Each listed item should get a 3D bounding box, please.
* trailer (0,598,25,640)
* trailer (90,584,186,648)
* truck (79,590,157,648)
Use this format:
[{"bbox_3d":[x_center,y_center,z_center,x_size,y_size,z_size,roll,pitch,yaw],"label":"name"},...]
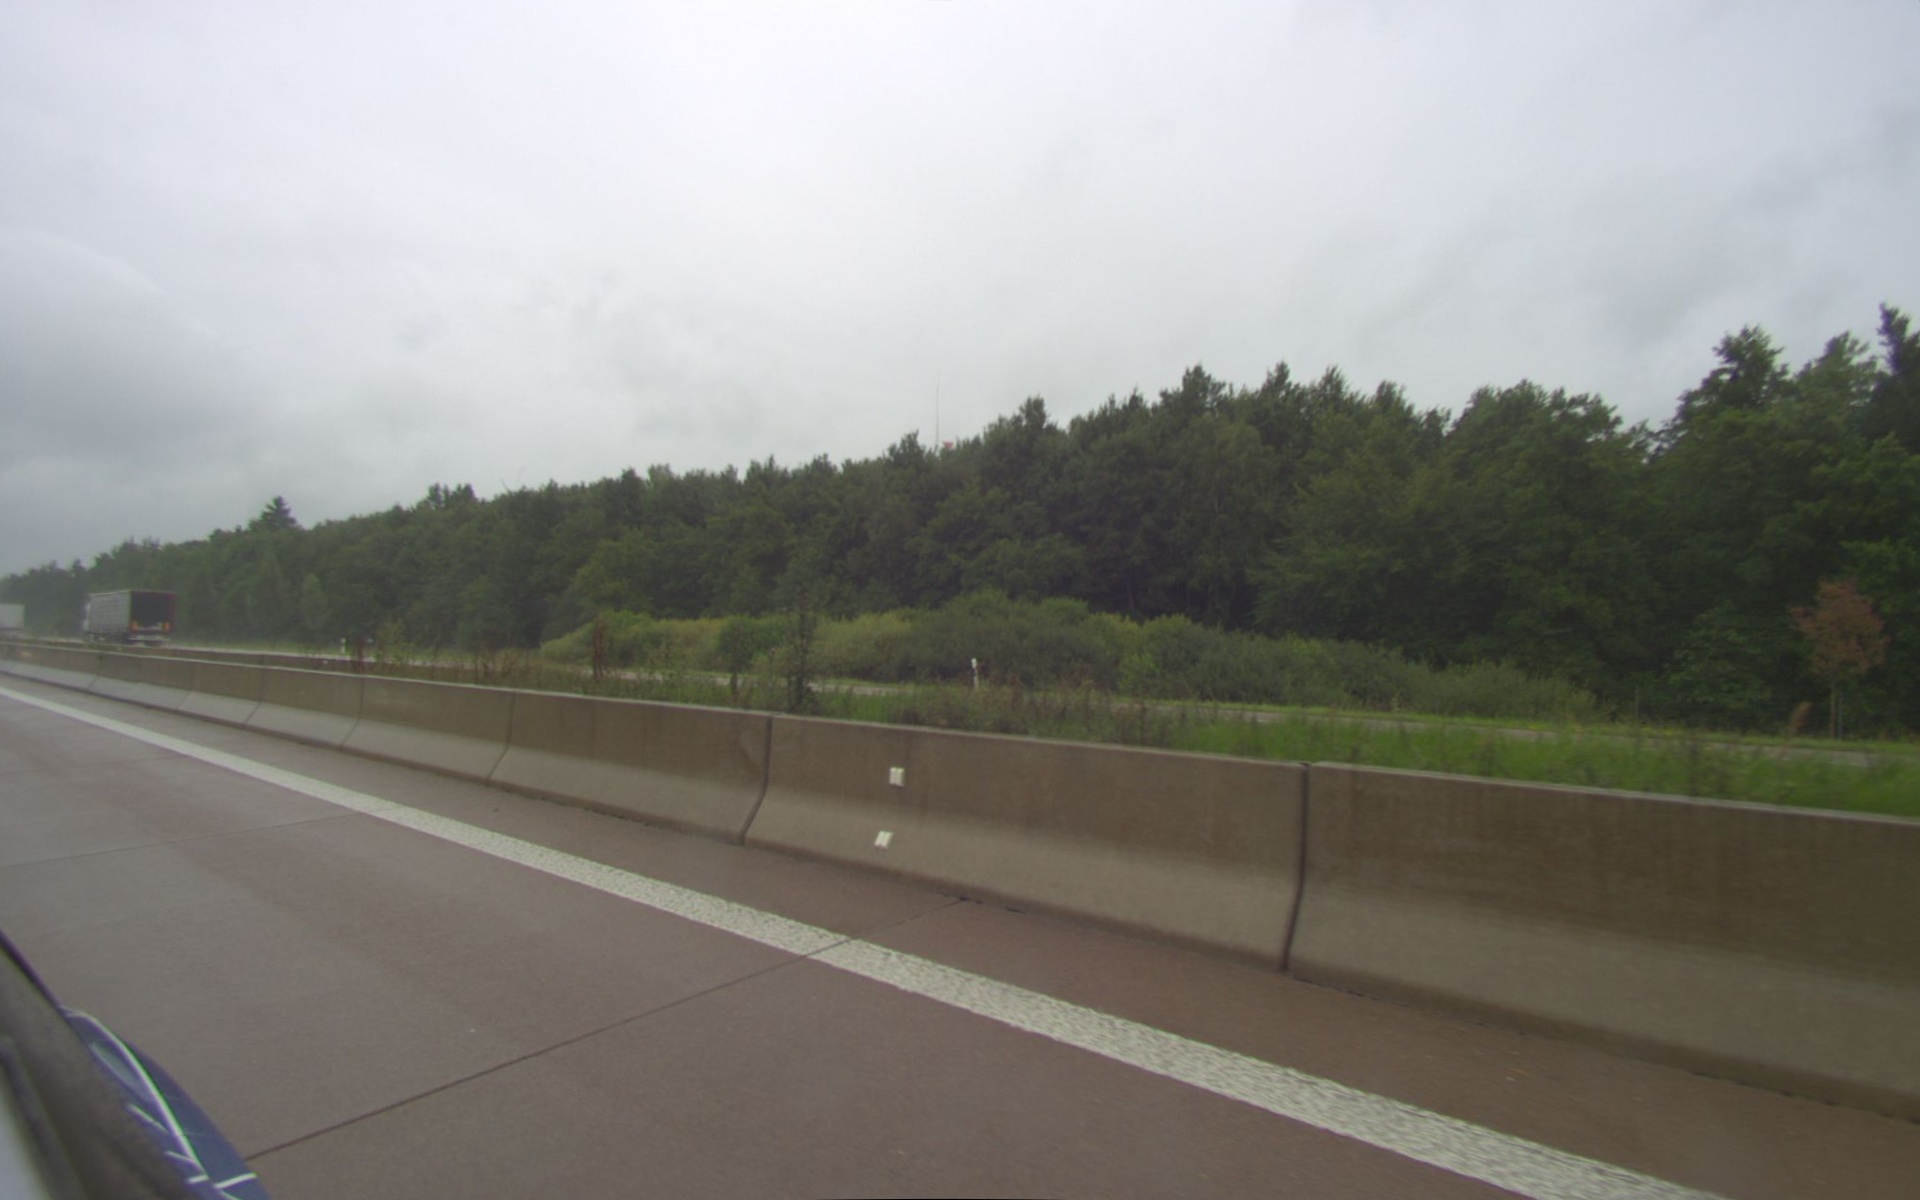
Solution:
[{"bbox_3d":[-116.129,2.296,122.199,12.439,4.903,3.395,-1,0,41],"label":"trailer"},{"bbox_3d":[-62.185,1.373,76.368,12.437,4.500,3.394,-2,-3,41],"label":"trailer"},{"bbox_3d":[-67.187,1.637,80.680,7.941,4.393,3.384,-2,-3,40],"label":"truck"}]
